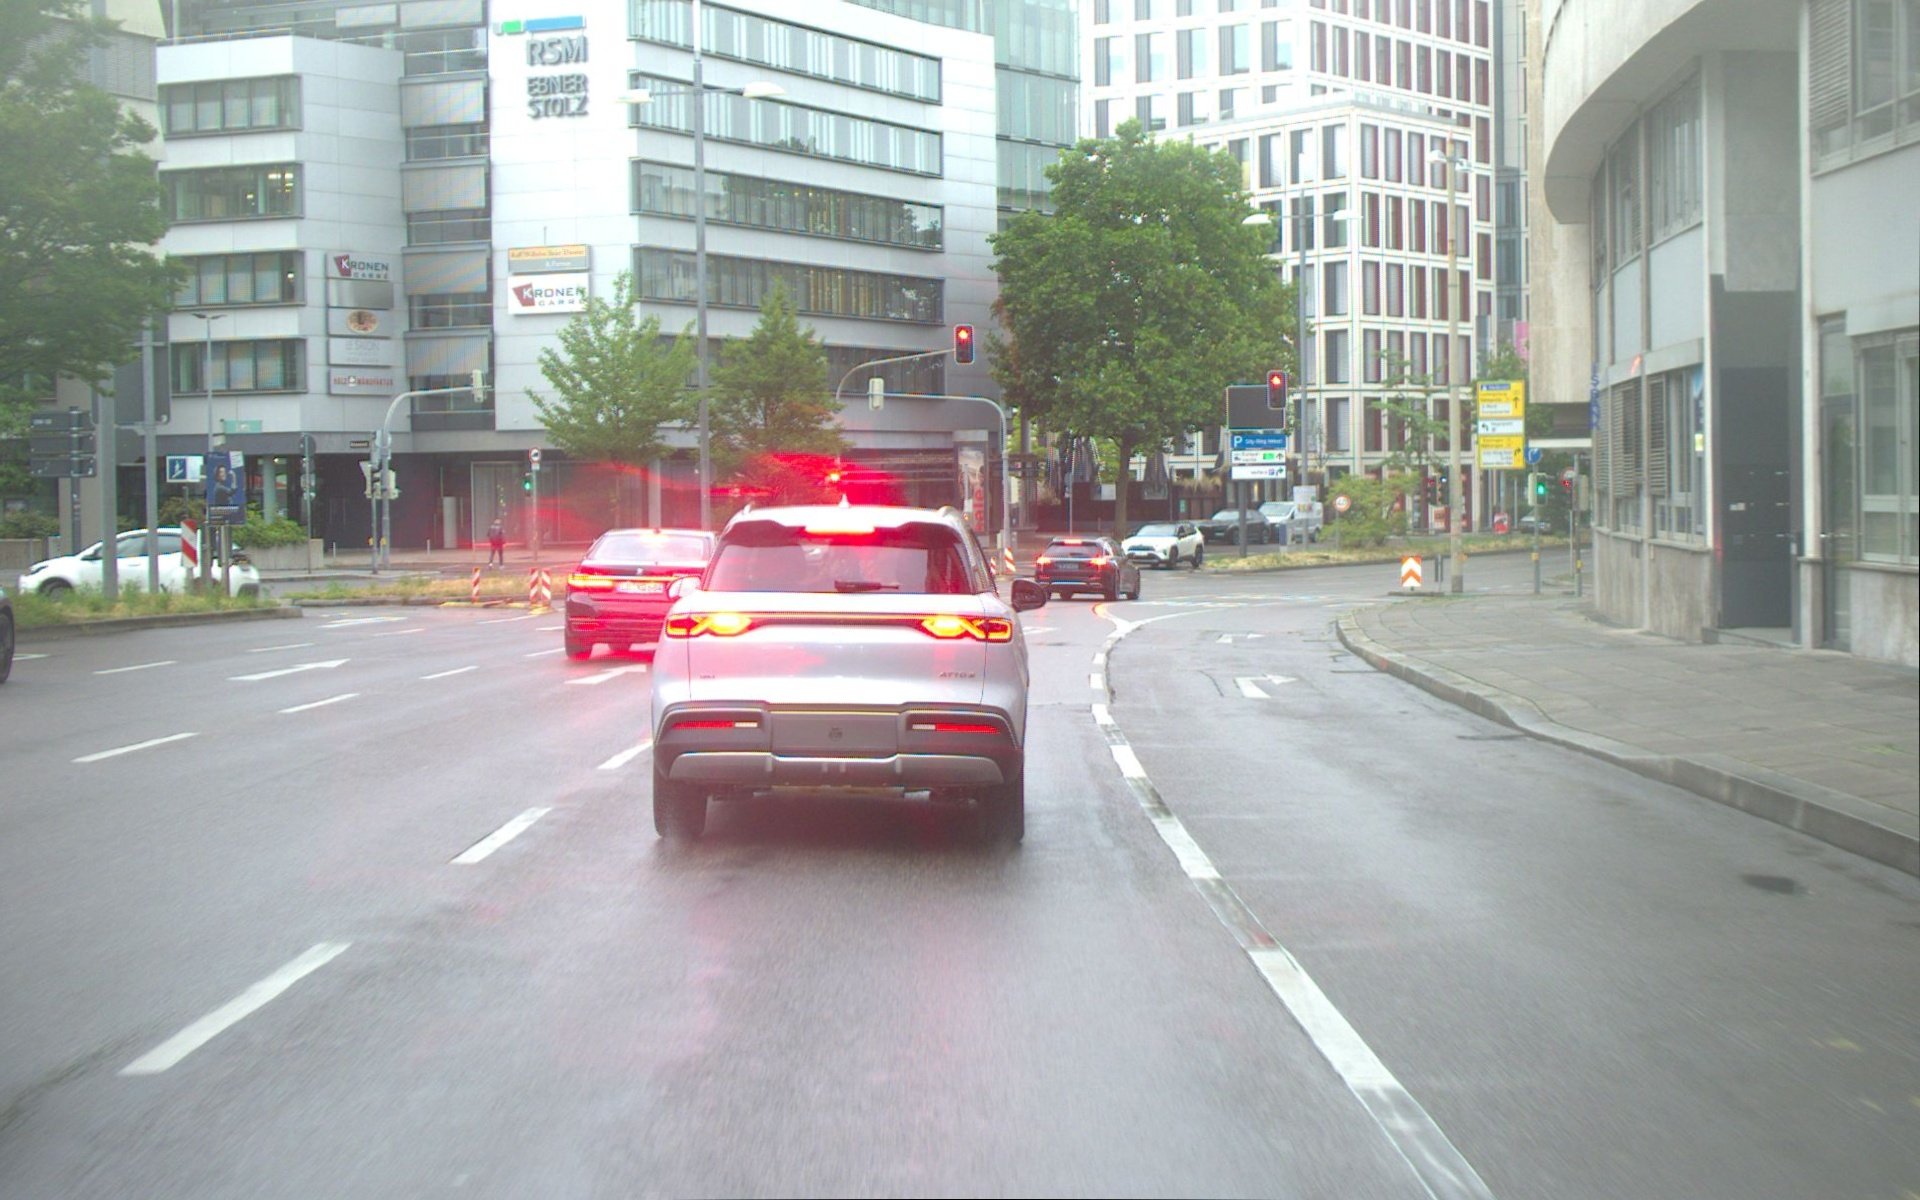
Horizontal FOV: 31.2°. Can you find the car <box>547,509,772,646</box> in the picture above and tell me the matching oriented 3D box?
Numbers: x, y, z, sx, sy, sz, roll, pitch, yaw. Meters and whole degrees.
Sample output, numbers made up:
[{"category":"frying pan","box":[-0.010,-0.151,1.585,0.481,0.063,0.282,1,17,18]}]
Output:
[{"category":"car","box":[-3.398,-0.246,39.819,1.872,1.474,4.877,0,0,4]}]

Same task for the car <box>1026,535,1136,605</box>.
[{"category":"car","box":[2.850,-0.719,80.105,1.813,1.573,3.998,0,1,13]}]

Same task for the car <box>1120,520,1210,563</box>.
[{"category":"car","box":[7.354,-2.107,123.027,1.583,1.533,3.993,1,2,30]}]

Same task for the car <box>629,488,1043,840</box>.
[{"category":"car","box":[-0.600,0.255,17.866,1.901,1.616,4.000,0,1,-1]}]

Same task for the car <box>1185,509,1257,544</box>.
[{"category":"car","box":[11.417,-3.214,150.090,1.583,1.533,3.993,1,2,30]}]

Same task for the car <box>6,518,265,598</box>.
[{"category":"car","box":[-14.045,-0.733,58.689,3.987,1.337,1.659,0,1,5]}]

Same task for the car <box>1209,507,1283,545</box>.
[{"category":"car","box":[13.151,-3.393,157.713,1.860,1.730,3.993,1,2,30]}]

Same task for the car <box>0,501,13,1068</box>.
[{"category":"car","box":[-3.317,0.517,6.831,1.672,1.474,4.361,1,1,0]}]

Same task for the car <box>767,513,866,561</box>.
[{"category":"car","box":[-4.724,-2.095,113.752,1.583,1.533,3.995,1,2,25]}]

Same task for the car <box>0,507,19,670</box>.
[{"category":"car","box":[-9.403,-0.074,29.322,1.774,1.452,4.000,-1,1,-2]}]
